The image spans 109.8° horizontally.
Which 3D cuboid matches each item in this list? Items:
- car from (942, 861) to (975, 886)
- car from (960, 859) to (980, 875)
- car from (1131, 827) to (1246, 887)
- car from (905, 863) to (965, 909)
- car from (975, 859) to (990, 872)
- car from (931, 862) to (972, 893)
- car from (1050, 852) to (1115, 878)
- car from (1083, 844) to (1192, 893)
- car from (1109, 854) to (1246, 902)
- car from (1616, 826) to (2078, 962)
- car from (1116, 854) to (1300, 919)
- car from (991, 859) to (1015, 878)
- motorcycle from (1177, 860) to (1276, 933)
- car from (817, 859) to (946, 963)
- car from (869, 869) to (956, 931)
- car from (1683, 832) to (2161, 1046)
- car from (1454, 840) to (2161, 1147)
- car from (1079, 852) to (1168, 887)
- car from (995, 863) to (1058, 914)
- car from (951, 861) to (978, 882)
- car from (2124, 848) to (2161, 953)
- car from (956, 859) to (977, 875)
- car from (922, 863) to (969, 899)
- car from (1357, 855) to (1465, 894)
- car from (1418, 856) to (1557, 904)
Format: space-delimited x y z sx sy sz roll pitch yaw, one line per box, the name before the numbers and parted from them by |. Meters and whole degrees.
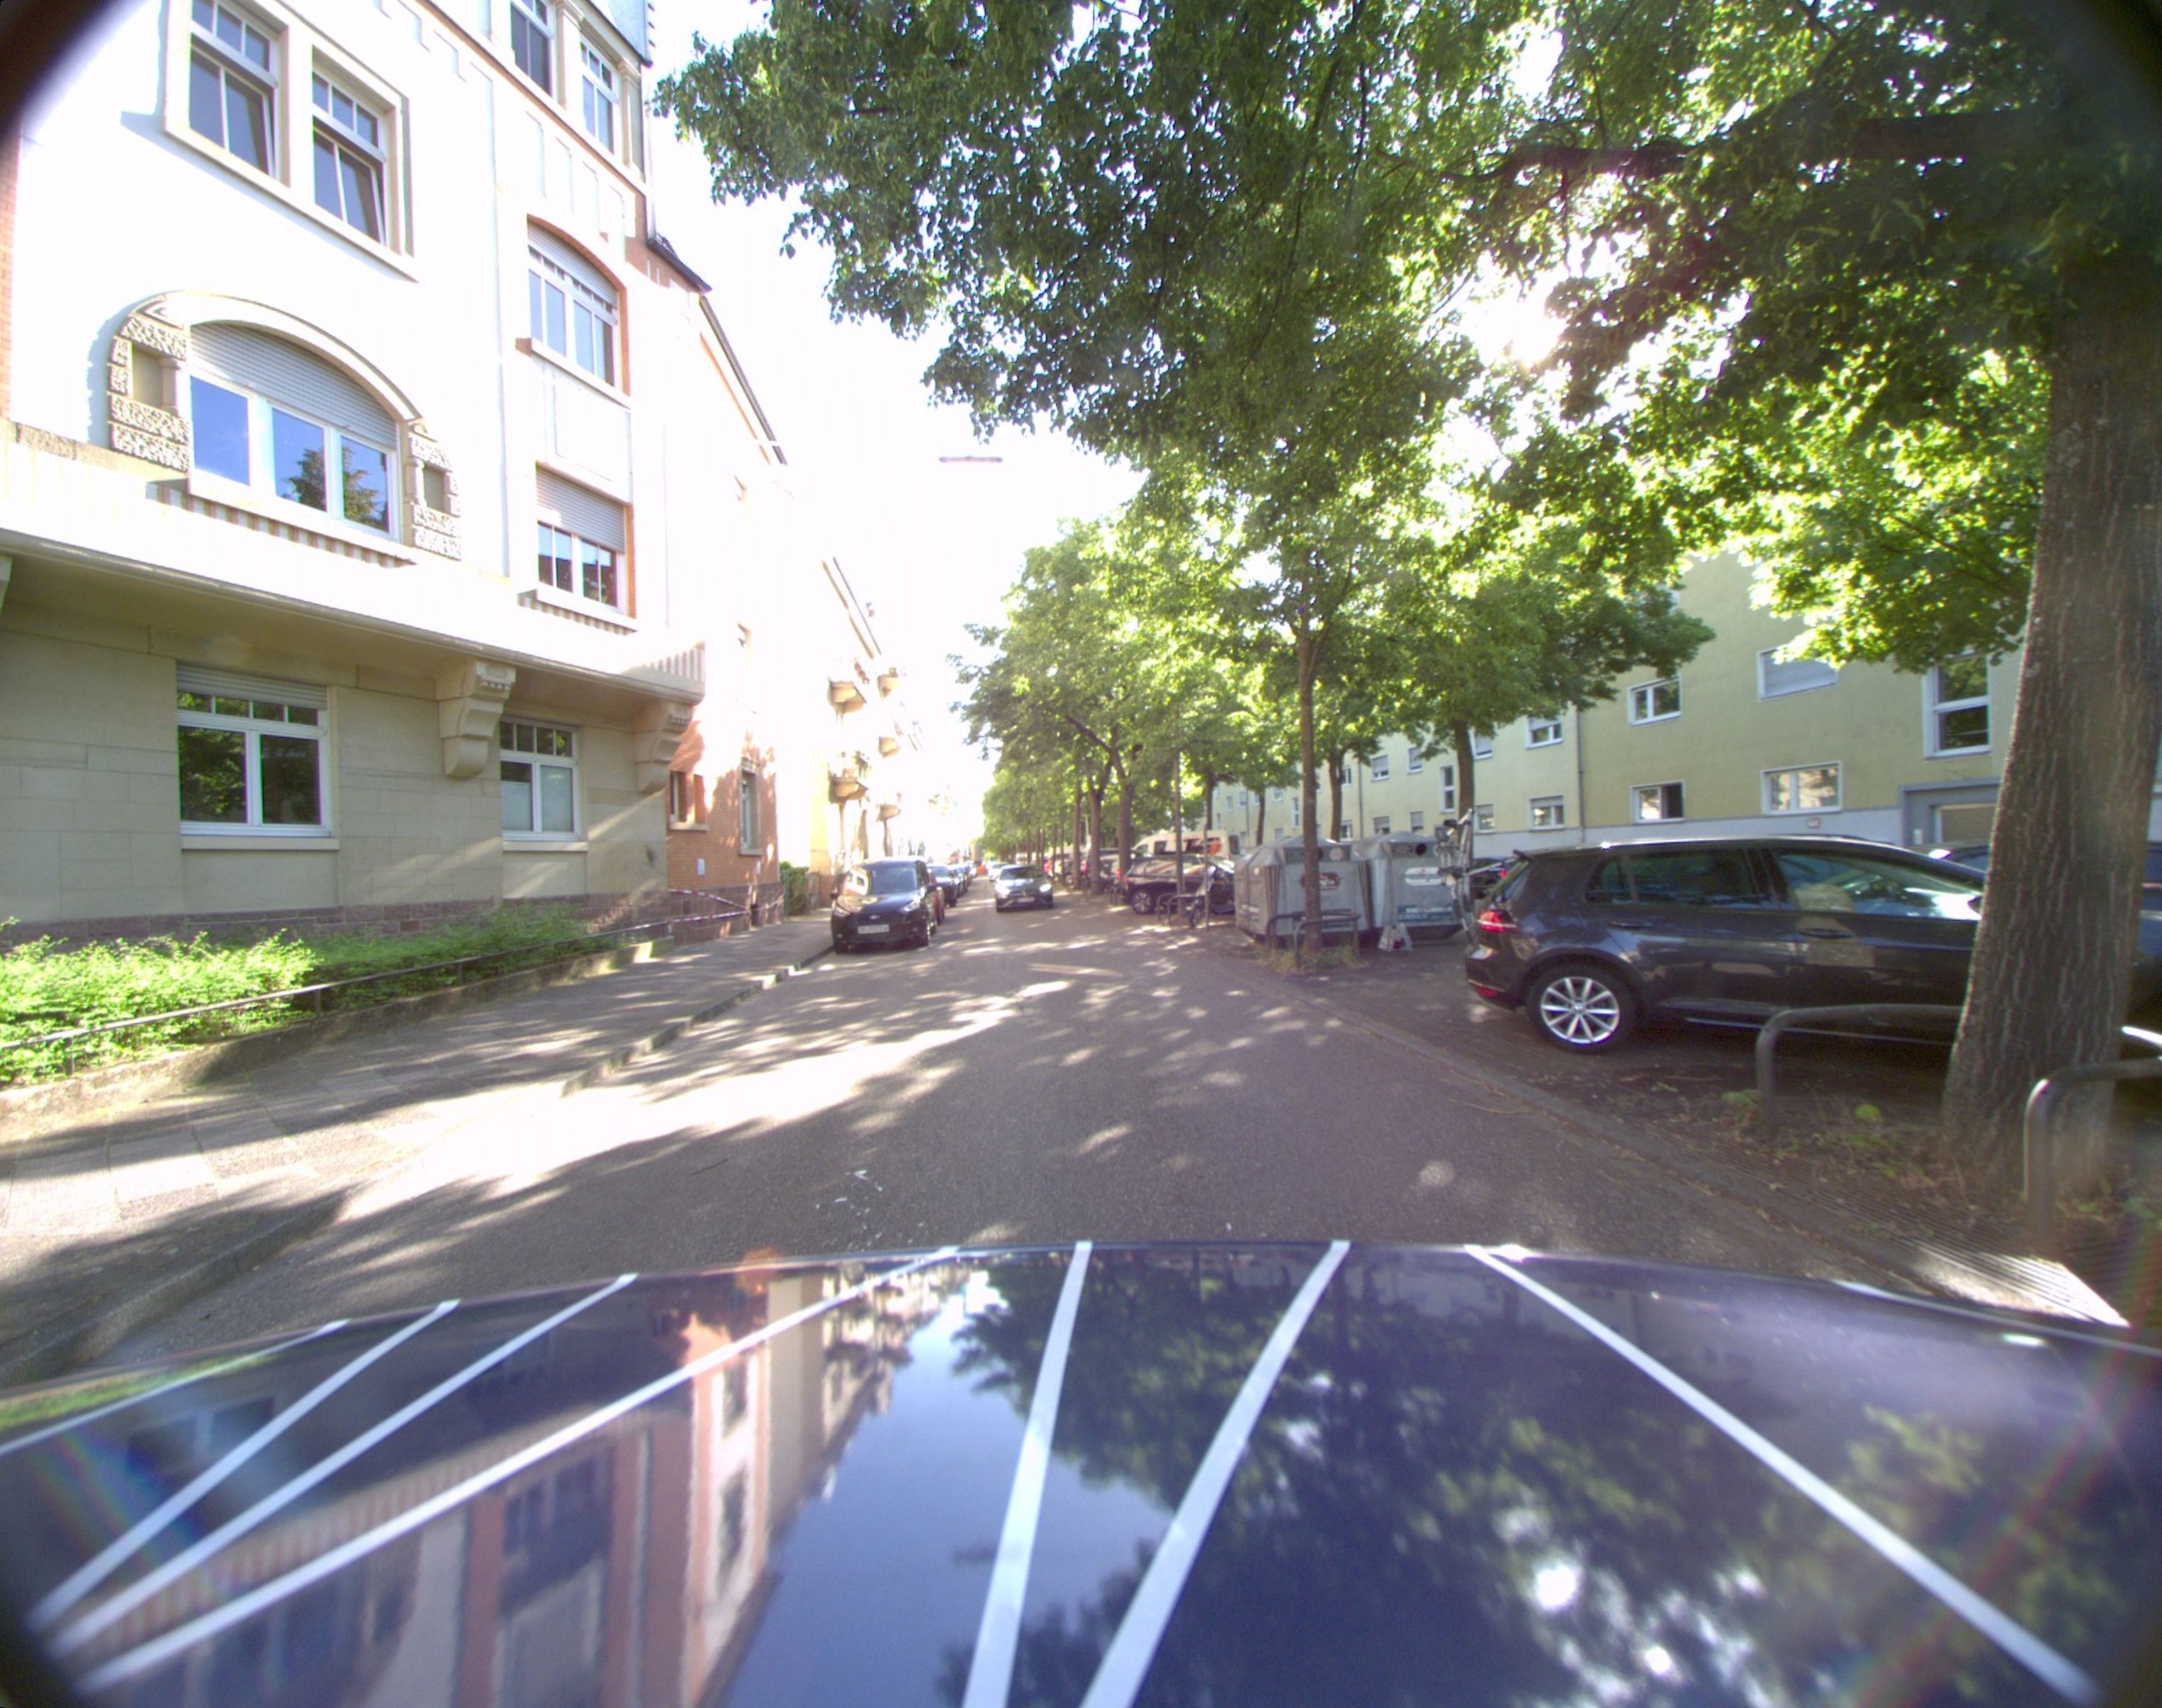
car | -8.257 1.280 51.672 1.797 1.547 4.207 -4 0 -5
car | -11.850 1.359 81.607 1.797 1.547 4.207 -4 0 -5
car | 4.728 0.179 33.468 4.583 2.476 1.990 -2 0 27
car | -5.618 1.194 29.663 1.797 1.547 4.207 -4 0 -5
car | -13.738 1.593 106.097 1.797 1.547 4.207 -4 0 -5
car | -7.148 1.259 42.191 1.797 1.547 4.207 -4 0 -5
car | 0.113 0.736 50.807 3.992 1.677 1.826 -1 0 18
car | 2.287 0.591 31.067 3.989 1.887 1.827 -2 0 31
car | 3.121 0.778 24.756 3.989 1.444 1.827 -2 0 31
car | 9.383 0.467 9.582 3.997 1.464 1.760 -1 0 1
car | 3.076 0.766 18.580 3.989 1.432 1.827 -2 0 31
car | -6.281 1.184 61.814 1.798 1.426 4.207 -2 0 -5
motorcycle | 2.889 0.815 15.083 1.802 1.340 0.727 -1 0 -25
car | -3.948 1.040 15.743 1.797 1.756 4.207 -4 0 -5
car | -4.668 1.230 21.660 1.797 1.445 4.207 -4 0 -5
car | 7.534 0.587 6.155 3.989 1.464 1.763 -2 0 32
car | 4.780 0.692 4.957 3.989 1.464 1.763 -2 0 33
car | 2.075 0.766 37.599 3.989 1.624 1.827 -2 0 31
car | -1.811 1.059 24.908 1.798 1.426 4.207 -3 0 -5
car | -9.387 1.379 61.703 1.797 1.547 4.207 -4 0 -5
car | 15.763 0.601 8.587 1.735 1.430 4.385 -1 0 -7
car | -11.508 1.298 76.634 1.797 1.547 4.207 -4 0 -5
car | -6.490 1.250 36.803 1.797 1.547 4.207 -4 0 -5
car | 13.178 0.788 30.656 2.043 1.430 4.385 -1 0 -7
car | 13.711 0.831 25.973 2.043 1.430 4.385 -1 0 -7
